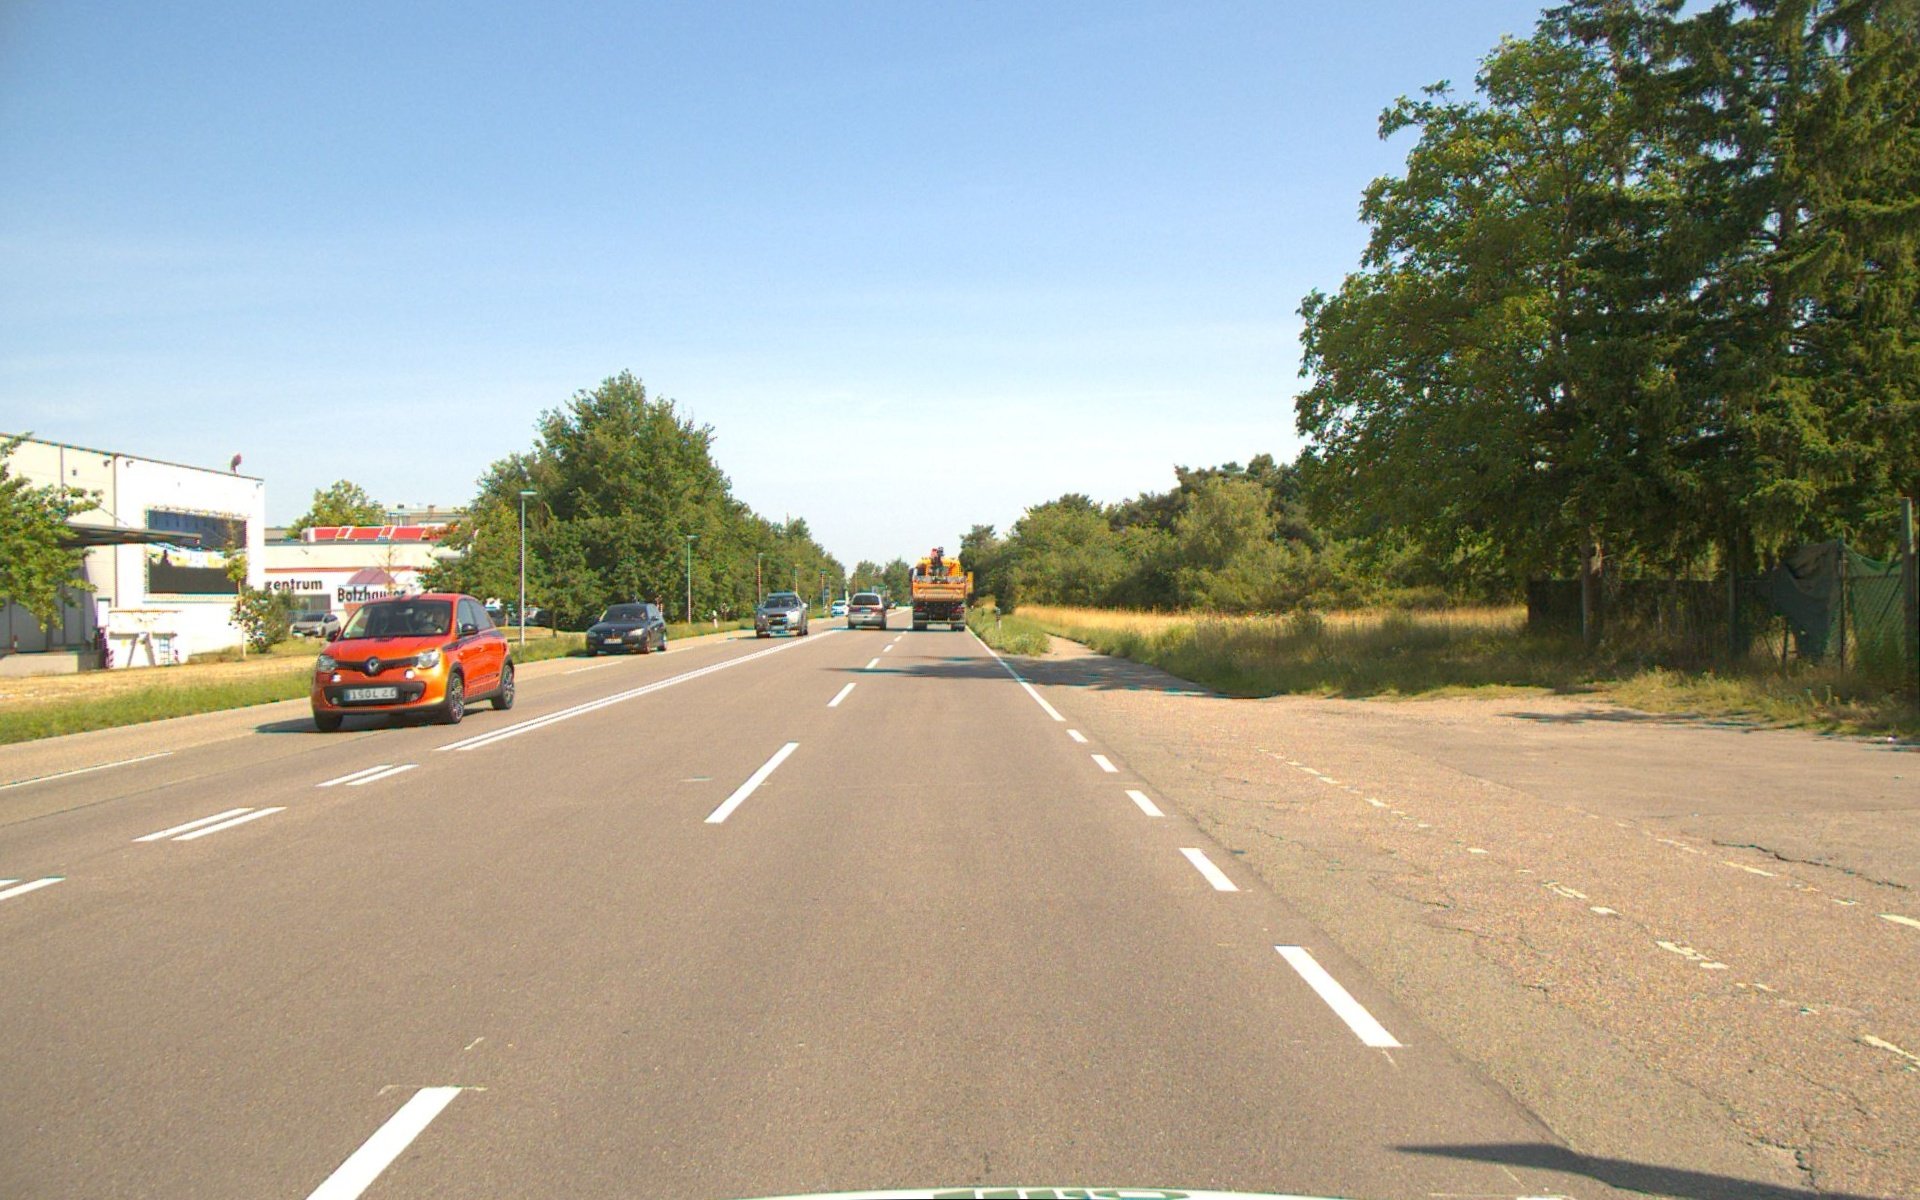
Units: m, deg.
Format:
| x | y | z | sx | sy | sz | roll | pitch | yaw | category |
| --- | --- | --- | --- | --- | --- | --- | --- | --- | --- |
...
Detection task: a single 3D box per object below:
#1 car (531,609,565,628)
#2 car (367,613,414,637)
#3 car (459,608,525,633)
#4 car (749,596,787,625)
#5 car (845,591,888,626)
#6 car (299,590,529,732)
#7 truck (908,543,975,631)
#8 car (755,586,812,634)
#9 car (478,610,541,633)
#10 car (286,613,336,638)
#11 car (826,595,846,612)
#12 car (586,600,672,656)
| x | y | z | sx | sy | sz | roll | pitch | yaw | category |
| --- | --- | --- | --- | --- | --- | --- | --- | --- | --- |
| -32.636 | 1.443 | 131.152 | 1.752 | 1.373 | 4.660 | -2 | 0 | -3 | car |
| -34.550 | 1.511 | 100.448 | 1.603 | 1.414 | 3.722 | -1 | 0 | -1 | car |
| -31.391 | 1.381 | 111.083 | 3.906 | 1.527 | 1.757 | -2 | 0 | -1 | car |
| -10.814 | 0.581 | 93.163 | 1.694 | 1.588 | 4.214 | 1 | 0 | -1 | car |
| -4.418 | 0.375 | 78.610 | 1.953 | 1.611 | 3.998 | -1 | 0 | -2 | car |
| -6.752 | 0.693 | 20.870 | 1.617 | 1.523 | 3.843 | -3 | 0 | -1 | car |
| -0.951 | -0.590 | 78.577 | 2.815 | 3.948 | 7.395 | 1 | 0 | -3 | truck |
| -6.938 | 0.371 | 65.415 | 1.736 | 1.744 | 4.568 | -3 | 0 | -1 | car |
| -31.367 | 1.482 | 115.177 | 3.906 | 1.527 | 1.757 | -2 | 0 | -1 | car |
| -39.320 | 1.544 | 100.250 | 1.603 | 1.435 | 3.722 | -1 | 0 | -1 | car |
| -11.647 | 0.331 | 155.333 | 1.625 | 1.462 | 3.734 | -3 | 0 | -1 | car |
| -9.811 | 0.788 | 49.326 | 1.619 | 1.506 | 4.739 | -3 | 0 | -1 | car |
